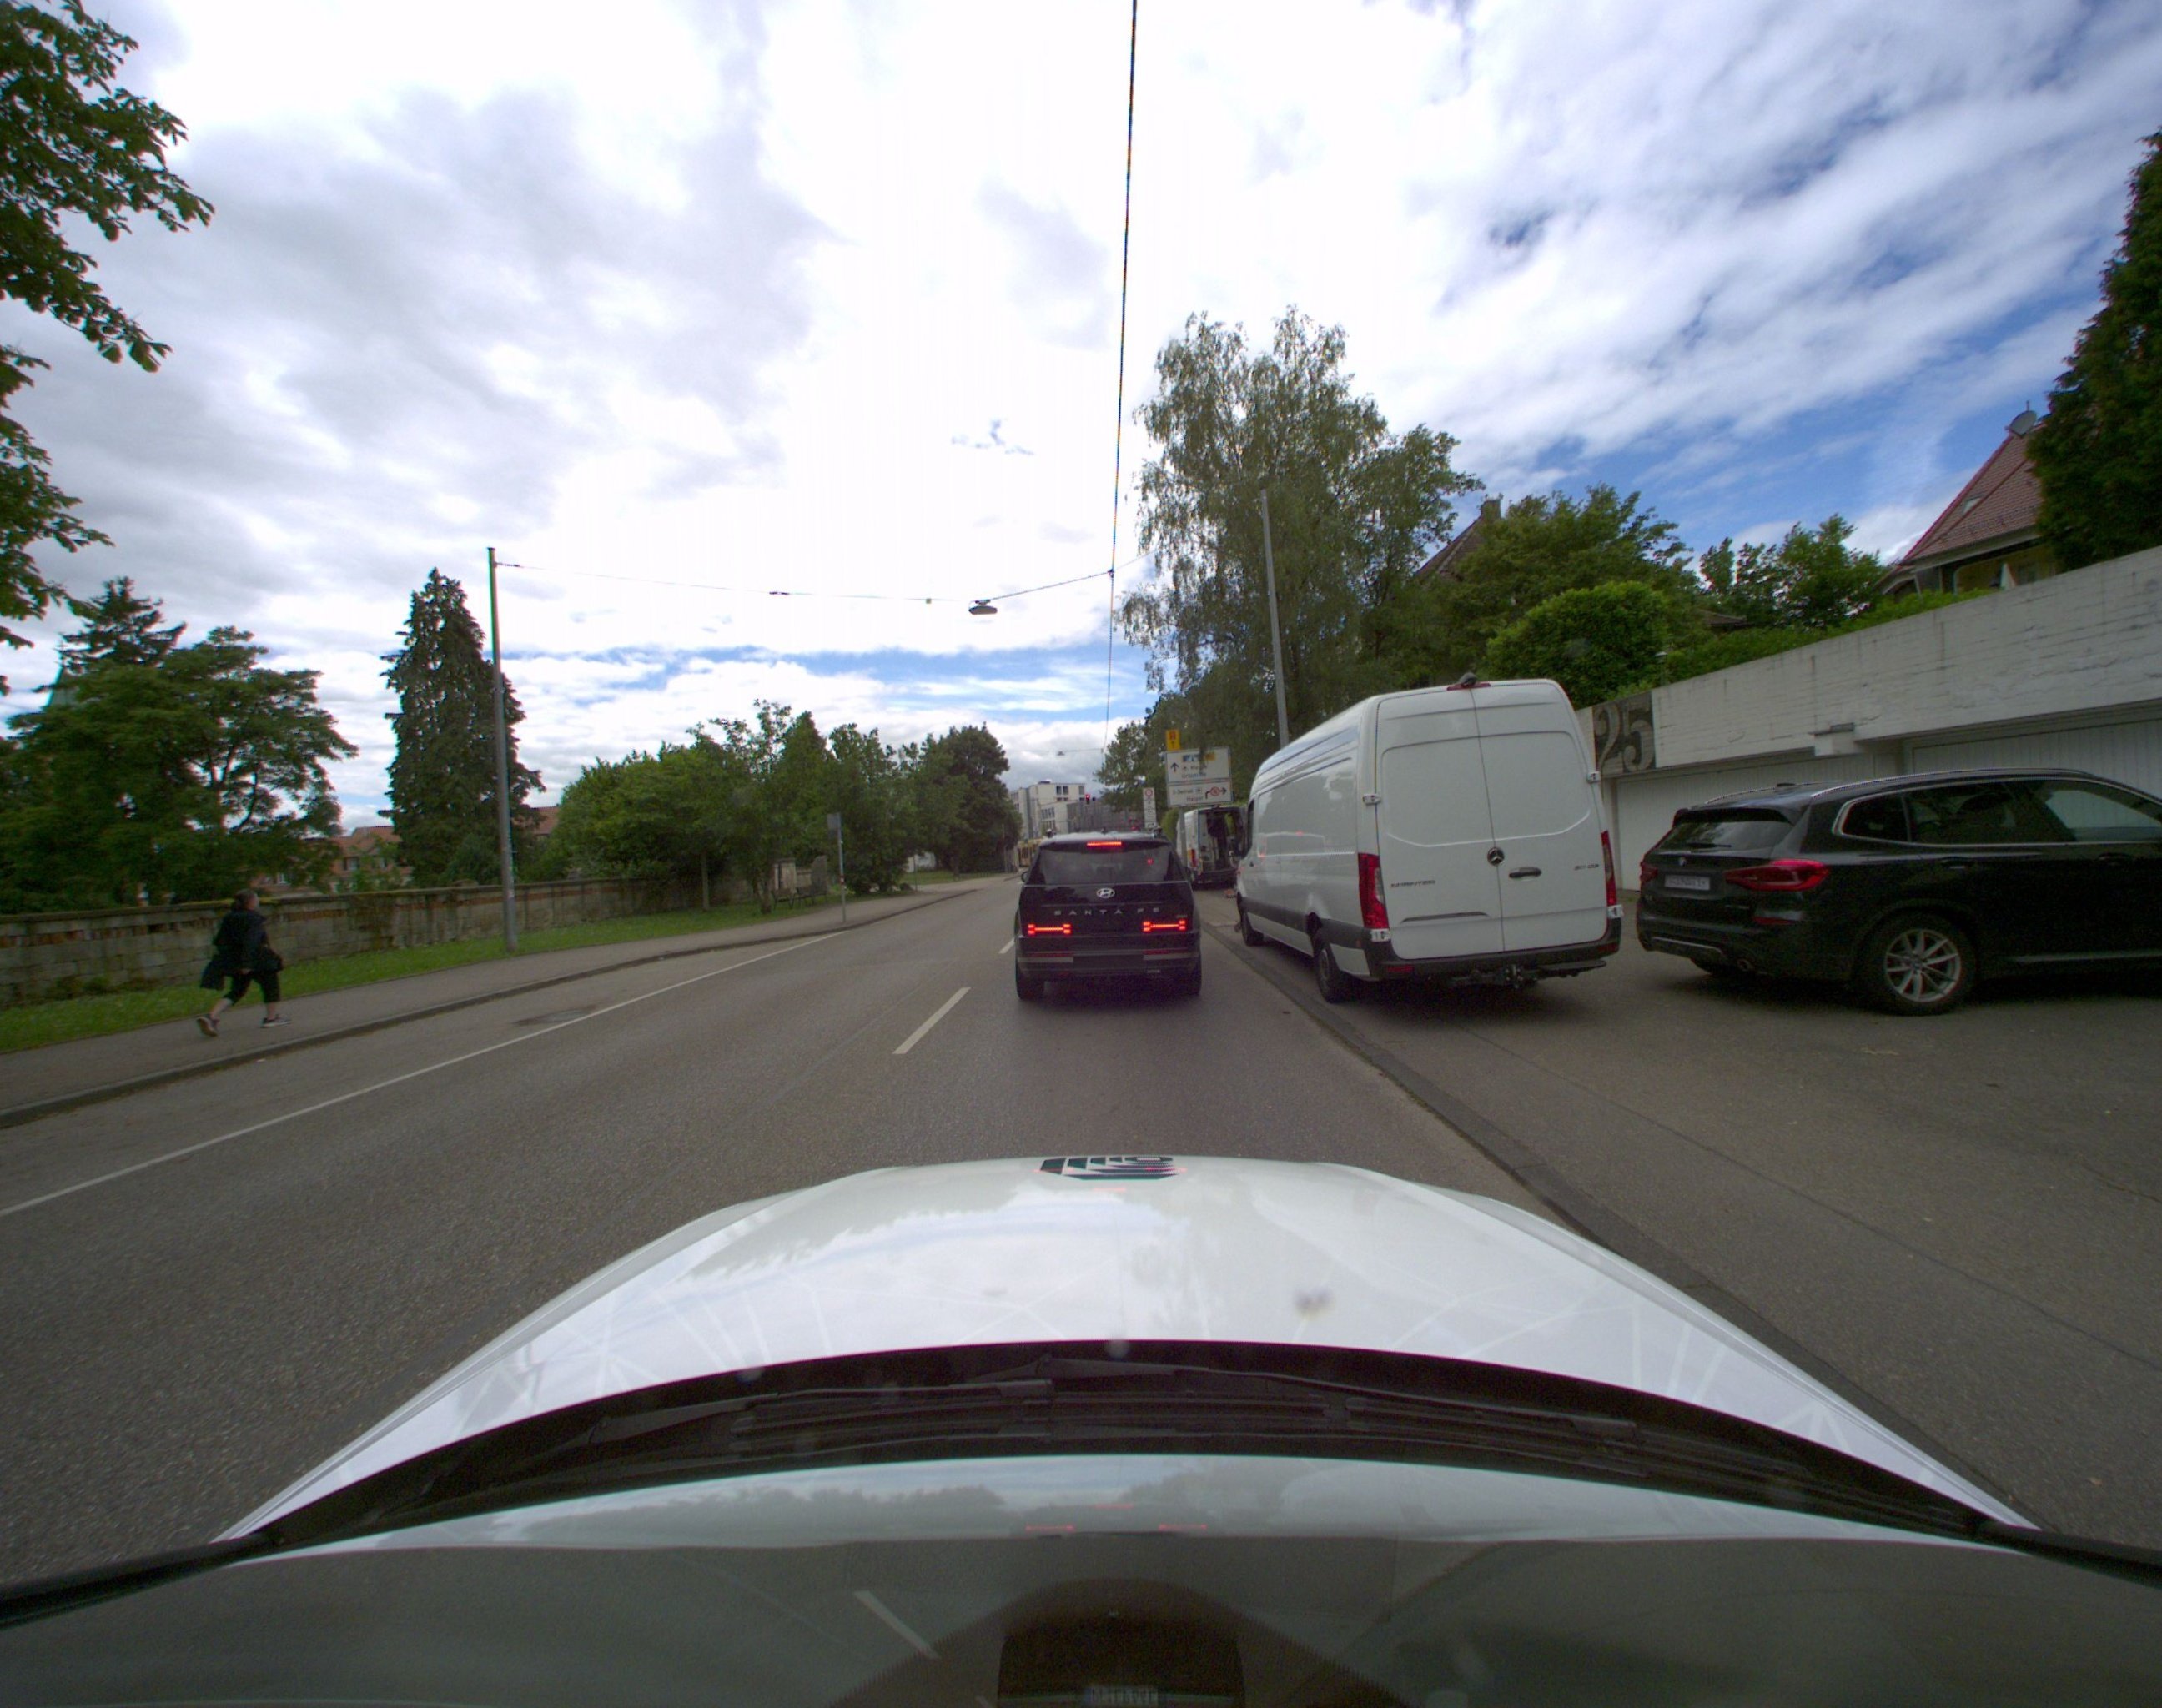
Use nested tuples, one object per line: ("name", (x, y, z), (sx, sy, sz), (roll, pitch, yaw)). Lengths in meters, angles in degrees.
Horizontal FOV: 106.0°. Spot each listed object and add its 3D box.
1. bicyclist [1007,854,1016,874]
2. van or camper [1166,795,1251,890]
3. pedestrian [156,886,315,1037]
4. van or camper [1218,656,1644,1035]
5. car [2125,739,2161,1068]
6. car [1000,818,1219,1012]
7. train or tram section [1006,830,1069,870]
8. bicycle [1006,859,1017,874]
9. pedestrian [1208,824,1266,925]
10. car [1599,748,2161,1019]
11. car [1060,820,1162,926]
("bicyclist", (-6.080, 0.873, 71.145), (0.676, 1.659, 0.855), (-1, -2, -12))
("van or camper", (4.260, -0.357, 28.022), (1.957, 2.797, 5.288), (-5, 0, 1))
("pedestrian", (-9.667, 1.192, 9.355), (0.746, 1.578, 0.967), (-2, 0, 1))
("van or camper", (3.123, -0.073, 9.206), (1.957, 2.627, 6.360), (-5, 0, 1))
("car", (7.197, 0.140, 3.114), (3.780, 1.652, 1.832), (-4, 0, 5))
("car", (0.300, 0.555, 9.487), (1.957, 1.711, 4.001), (-2, 0, 1))
("train or tram section", (-6.041, -0.364, 107.935), (3.203, 4.523, 18.560), (-1, -2, -19))
("bicycle", (-6.069, 1.093, 71.111), (0.675, 1.279, 2.490), (-1, -2, -12))
("pedestrian", (2.813, 0.373, 14.739), (0.621, 1.743, 0.600), (-6, 0, -29))
("car", (6.880, 0.141, 6.382), (4.376, 1.652, 1.831), (-4, 0, 2))
("car", (0.627, 0.368, 18.037), (1.957, 2.001, 4.001), (-2, 0, 1))
